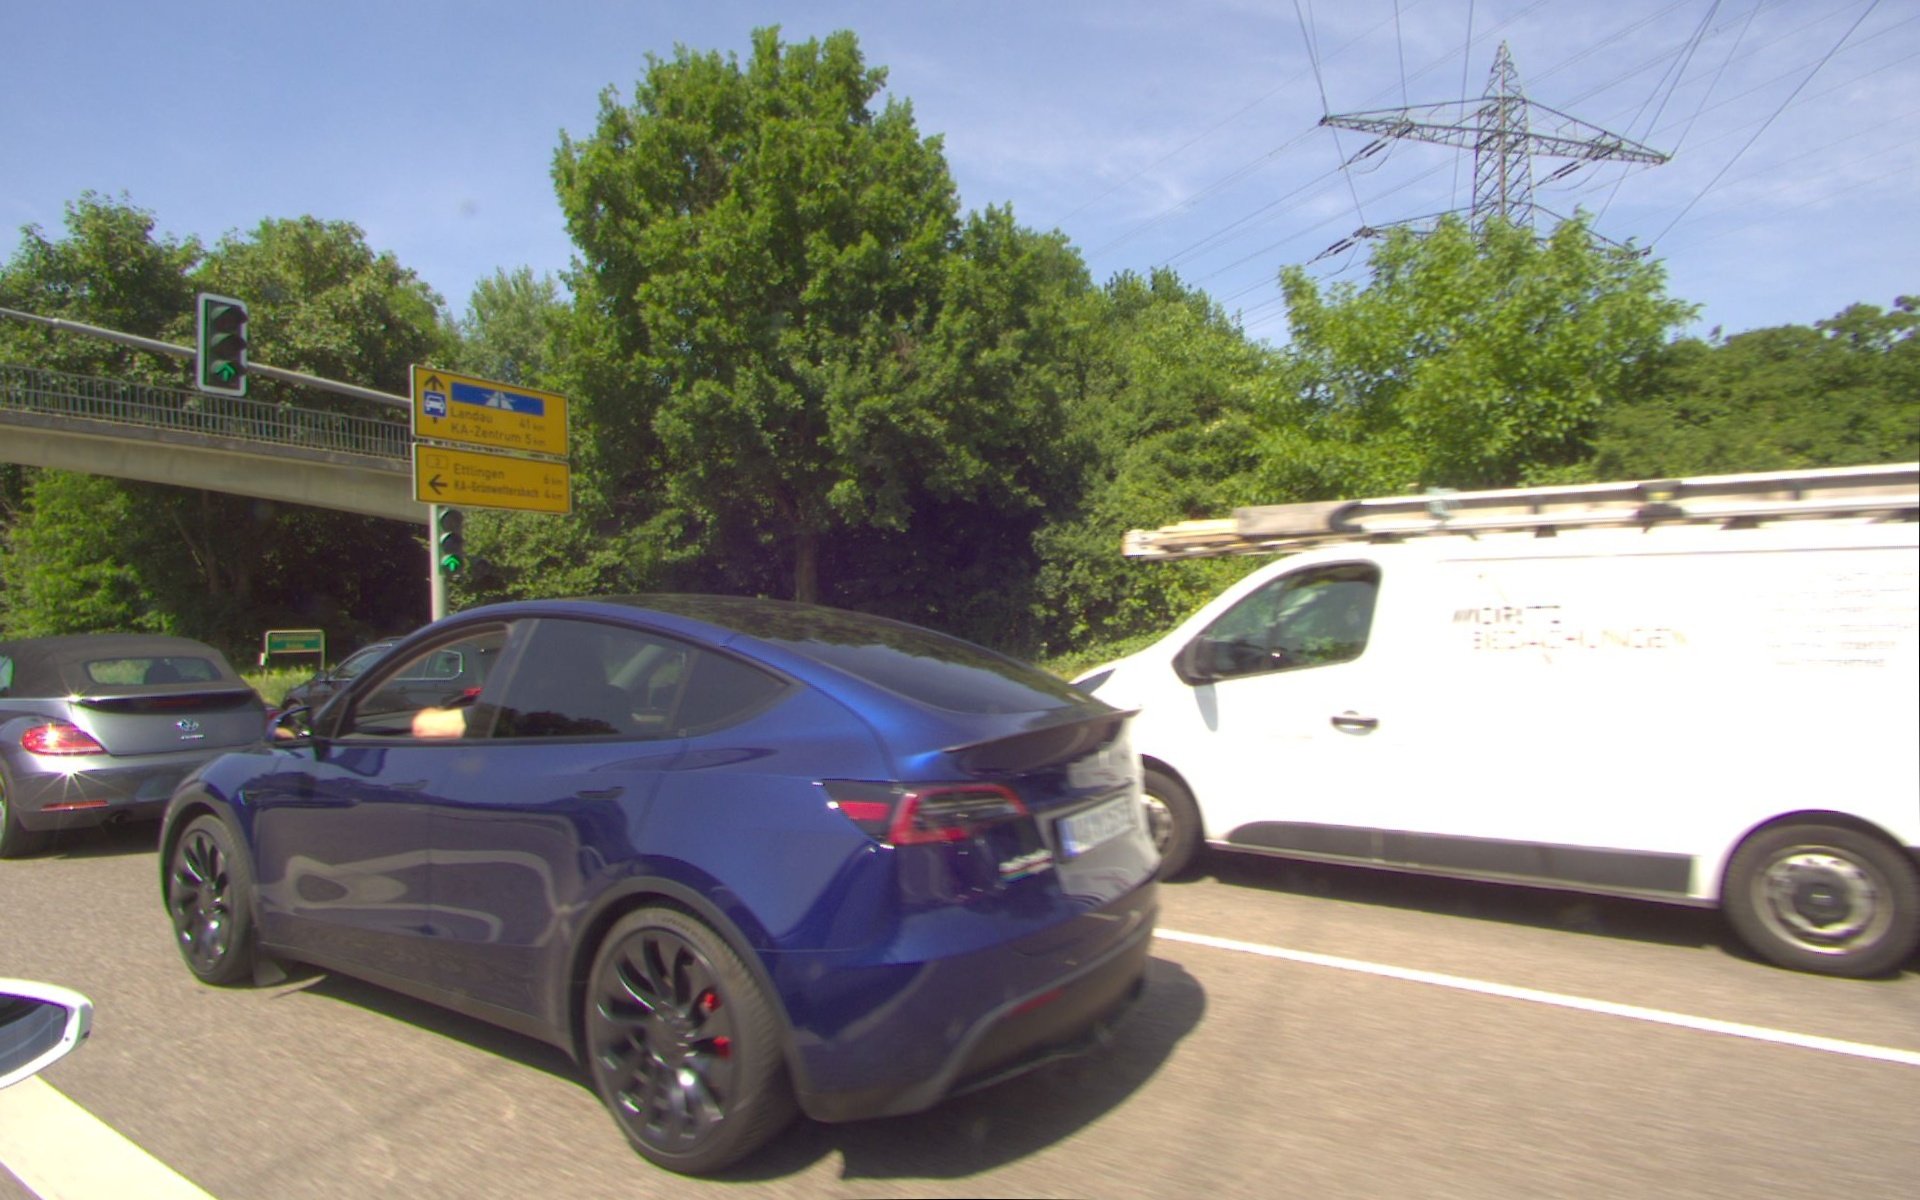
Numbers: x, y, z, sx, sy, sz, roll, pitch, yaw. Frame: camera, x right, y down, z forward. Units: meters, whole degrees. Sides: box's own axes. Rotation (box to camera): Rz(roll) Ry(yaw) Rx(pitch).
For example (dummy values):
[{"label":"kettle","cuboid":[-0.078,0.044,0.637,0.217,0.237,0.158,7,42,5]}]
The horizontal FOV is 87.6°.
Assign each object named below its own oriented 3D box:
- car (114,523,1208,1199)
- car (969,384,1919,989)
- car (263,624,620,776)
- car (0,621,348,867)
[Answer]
[{"label":"car","cuboid":[-1.443,0.729,4.159,4.455,1.665,1.897,-1,-2,32]},{"label":"car","cuboid":[2.674,0.400,5.796,5.003,2.379,1.929,-1,-2,33]},{"label":"car","cuboid":[-6.225,1.054,11.894,4.319,1.496,1.897,-1,-2,33]},{"label":"car","cuboid":[-6.846,0.938,7.970,3.884,1.496,1.897,-1,-2,33]}]
